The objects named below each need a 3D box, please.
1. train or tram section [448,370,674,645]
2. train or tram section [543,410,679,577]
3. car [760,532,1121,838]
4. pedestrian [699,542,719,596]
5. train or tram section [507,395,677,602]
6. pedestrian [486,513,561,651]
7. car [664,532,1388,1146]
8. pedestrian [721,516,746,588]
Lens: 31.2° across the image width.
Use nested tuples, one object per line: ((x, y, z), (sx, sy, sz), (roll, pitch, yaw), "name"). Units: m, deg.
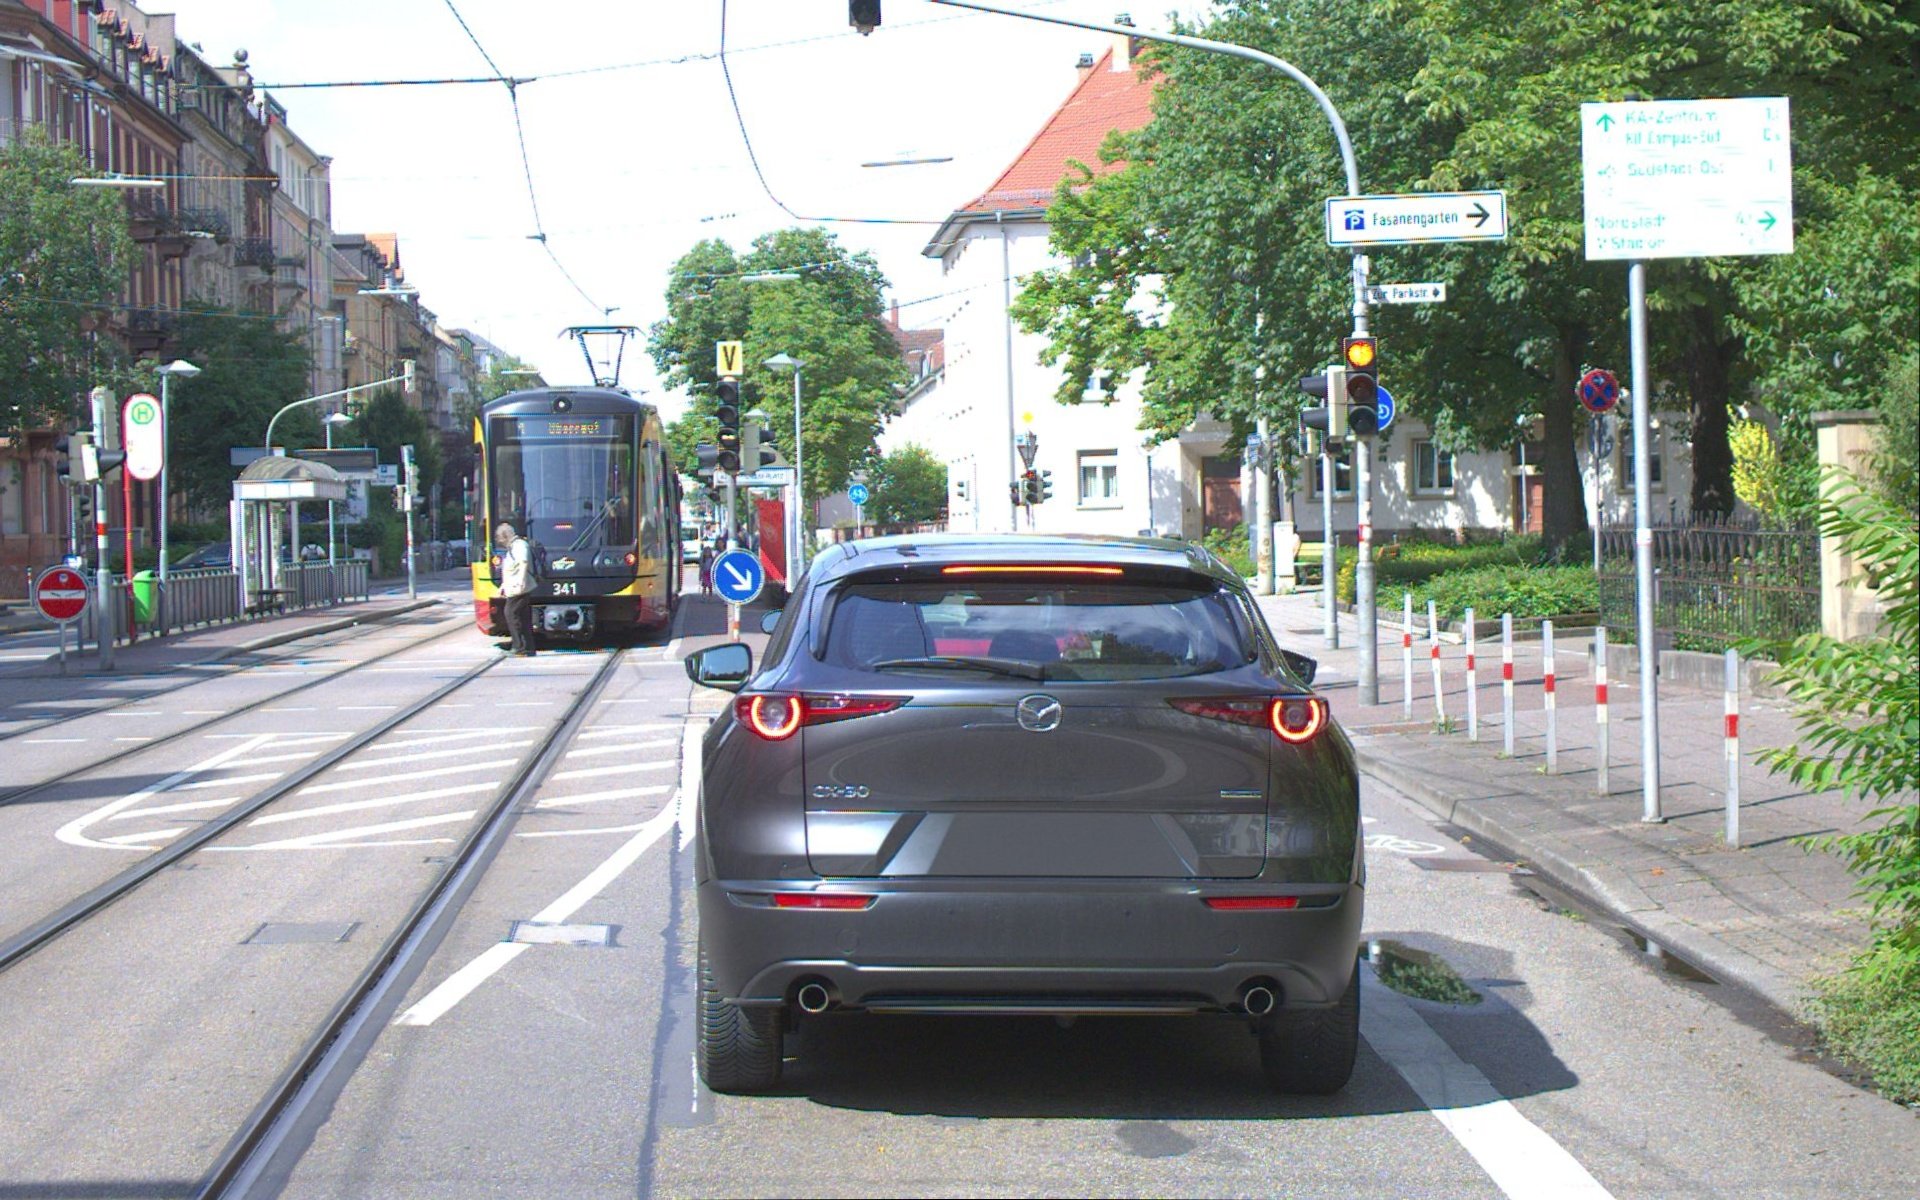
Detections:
((-5.729, -1.455, 51.405), (2.752, 3.478, 14.411), (-1, 2, -4), "train or tram section")
((-7.985, -2.528, 80.067), (2.752, 3.478, 14.411), (-1, 2, -4), "train or tram section")
((-0.131, 0.386, 19.155), (1.778, 1.494, 4.000), (1, 1, -1), "car")
((-4.974, -0.616, 68.146), (0.379, 1.067, 0.474), (-1, 1, -3), "pedestrian")
((-6.859, -1.993, 65.721), (2.752, 3.478, 14.411), (-1, 2, -4), "train or tram section")
((-5.465, -0.229, 43.031), (0.717, 1.699, 0.824), (-1, 1, 7), "pedestrian")
((0.131, 0.556, 10.550), (1.778, 1.494, 4.000), (1, 1, -1), "car")
((-4.494, -0.955, 68.256), (0.450, 1.429, 0.474), (-1, 1, -5), "pedestrian")
